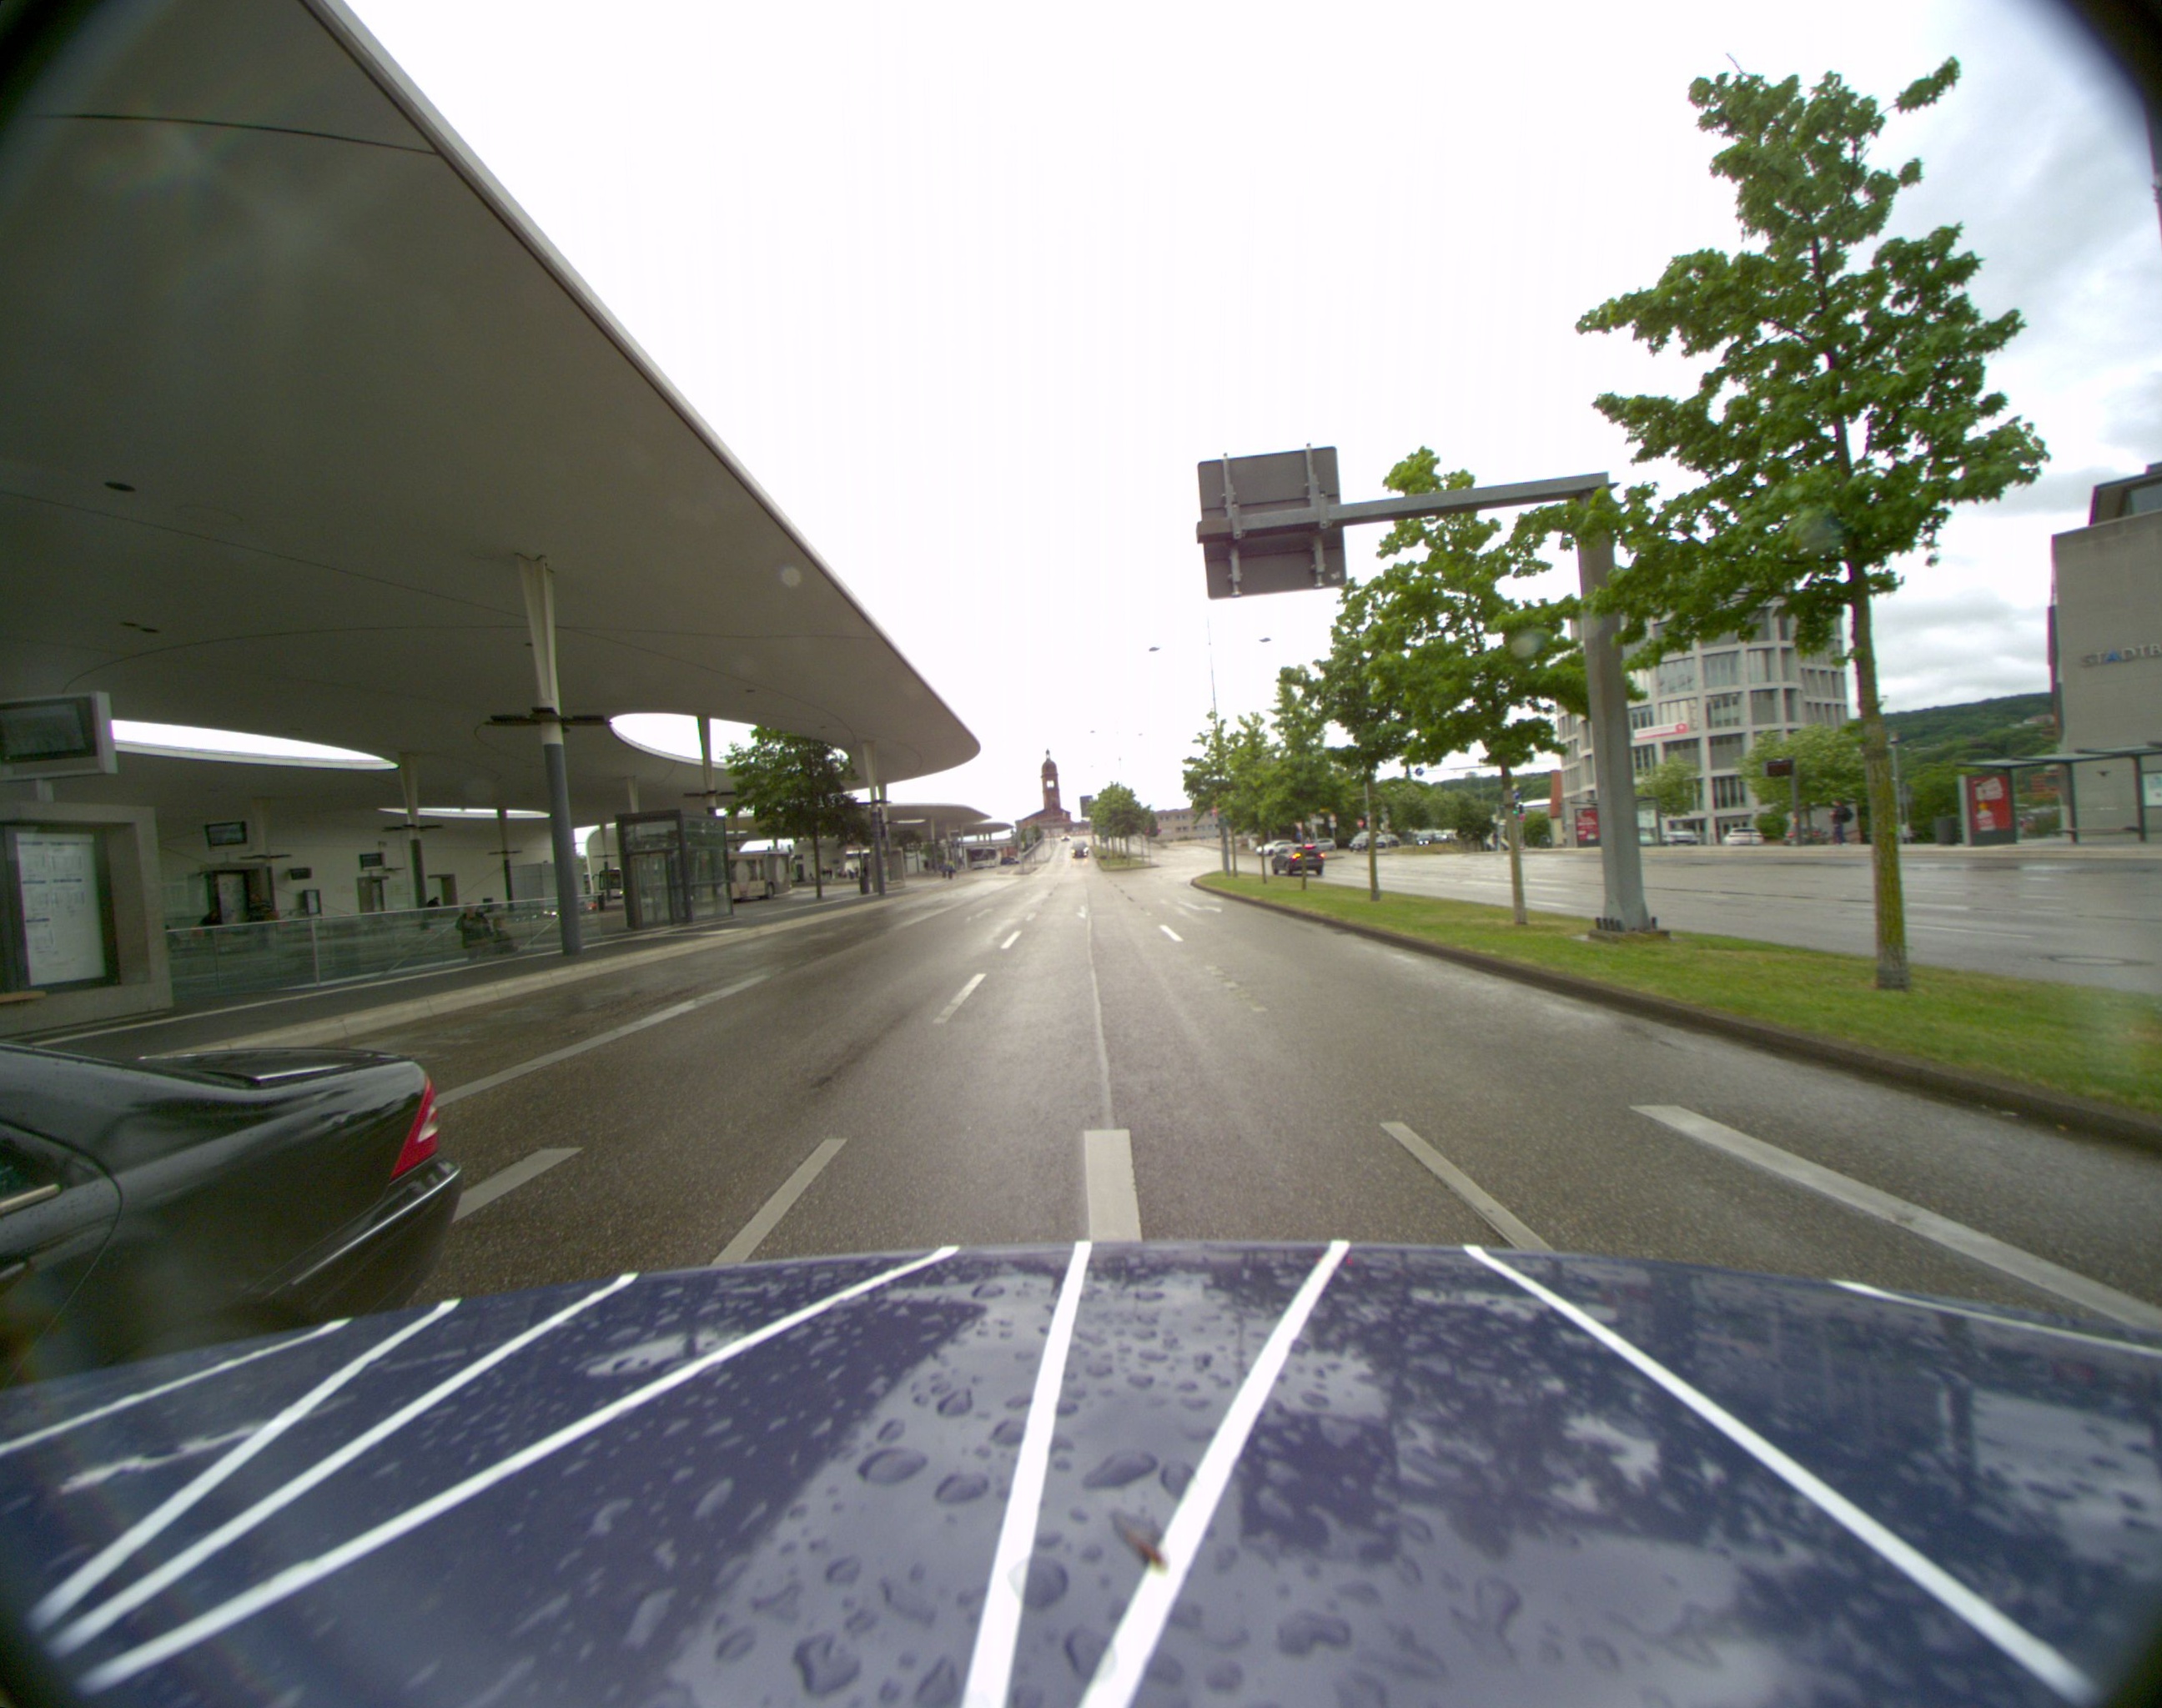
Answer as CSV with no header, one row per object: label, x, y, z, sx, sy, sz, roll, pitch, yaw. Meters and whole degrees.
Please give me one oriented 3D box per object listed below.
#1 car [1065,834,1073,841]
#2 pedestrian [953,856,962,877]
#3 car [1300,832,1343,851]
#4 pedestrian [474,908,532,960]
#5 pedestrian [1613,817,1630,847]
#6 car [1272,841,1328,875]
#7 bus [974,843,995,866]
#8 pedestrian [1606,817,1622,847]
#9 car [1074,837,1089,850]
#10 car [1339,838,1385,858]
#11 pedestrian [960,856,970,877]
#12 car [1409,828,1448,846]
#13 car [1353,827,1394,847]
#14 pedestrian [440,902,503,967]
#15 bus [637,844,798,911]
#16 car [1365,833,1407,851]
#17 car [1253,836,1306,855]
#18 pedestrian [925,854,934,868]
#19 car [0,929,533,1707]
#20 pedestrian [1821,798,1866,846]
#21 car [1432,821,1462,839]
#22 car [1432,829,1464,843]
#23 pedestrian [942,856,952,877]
car,-2.631,-3.636,167.938,1.704,1.656,3.998,-3,1,-2
pedestrian,-9.650,0.965,59.339,0.557,1.614,0.552,-3,1,1
car,25.924,-1.372,81.975,4.004,1.783,1.996,-3,1,-24
pedestrian,-11.720,1.616,15.414,0.622,0.957,0.638,-3,1,1
pedestrian,30.044,-1.238,42.253,0.520,1.625,0.536,-2,1,1
car,11.669,0.168,40.861,1.826,1.630,4.600,-3,0,3
bus,-14.313,0.062,113.272,2.675,3.111,9.712,-3,0,-5
pedestrian,29.495,-1.211,42.019,0.504,1.625,0.502,-2,1,1
car,0.066,-1.374,101.411,1.704,1.656,3.998,-3,1,-2
car,27.877,-0.569,75.264,4.925,1.702,2.190,-3,1,-43
pedestrian,-9.035,0.940,59.284,0.557,1.614,0.552,-3,1,1
car,38.515,-1.885,84.211,4.925,1.702,2.190,-3,1,-43
car,32.912,-1.872,85.378,5.043,2.002,2.304,-3,1,-43
pedestrian,-12.744,1.674,15.910,0.693,1.244,0.669,-3,1,1
bus,-19.752,1.105,42.662,3.003,3.088,12.353,-3,0,0
car,32.754,-1.335,81.476,4.925,1.702,2.190,-3,1,-43
car,20.776,-0.895,79.642,4.921,1.702,2.192,-3,1,-21
pedestrian,-17.891,0.865,89.730,0.723,1.621,0.753,-3,1,0
car,-2.847,1.168,0.336,1.750,1.472,4.433,-8,2,1
pedestrian,29.106,-1.213,29.009,0.787,1.750,0.972,-3,1,-28
car,44.526,-2.878,92.426,1.995,2.002,4.007,-3,1,44
car,48.786,-2.432,100.993,4.925,1.702,2.190,-3,1,-45
pedestrian,-10.439,0.997,59.351,0.576,1.614,0.588,-3,1,1
